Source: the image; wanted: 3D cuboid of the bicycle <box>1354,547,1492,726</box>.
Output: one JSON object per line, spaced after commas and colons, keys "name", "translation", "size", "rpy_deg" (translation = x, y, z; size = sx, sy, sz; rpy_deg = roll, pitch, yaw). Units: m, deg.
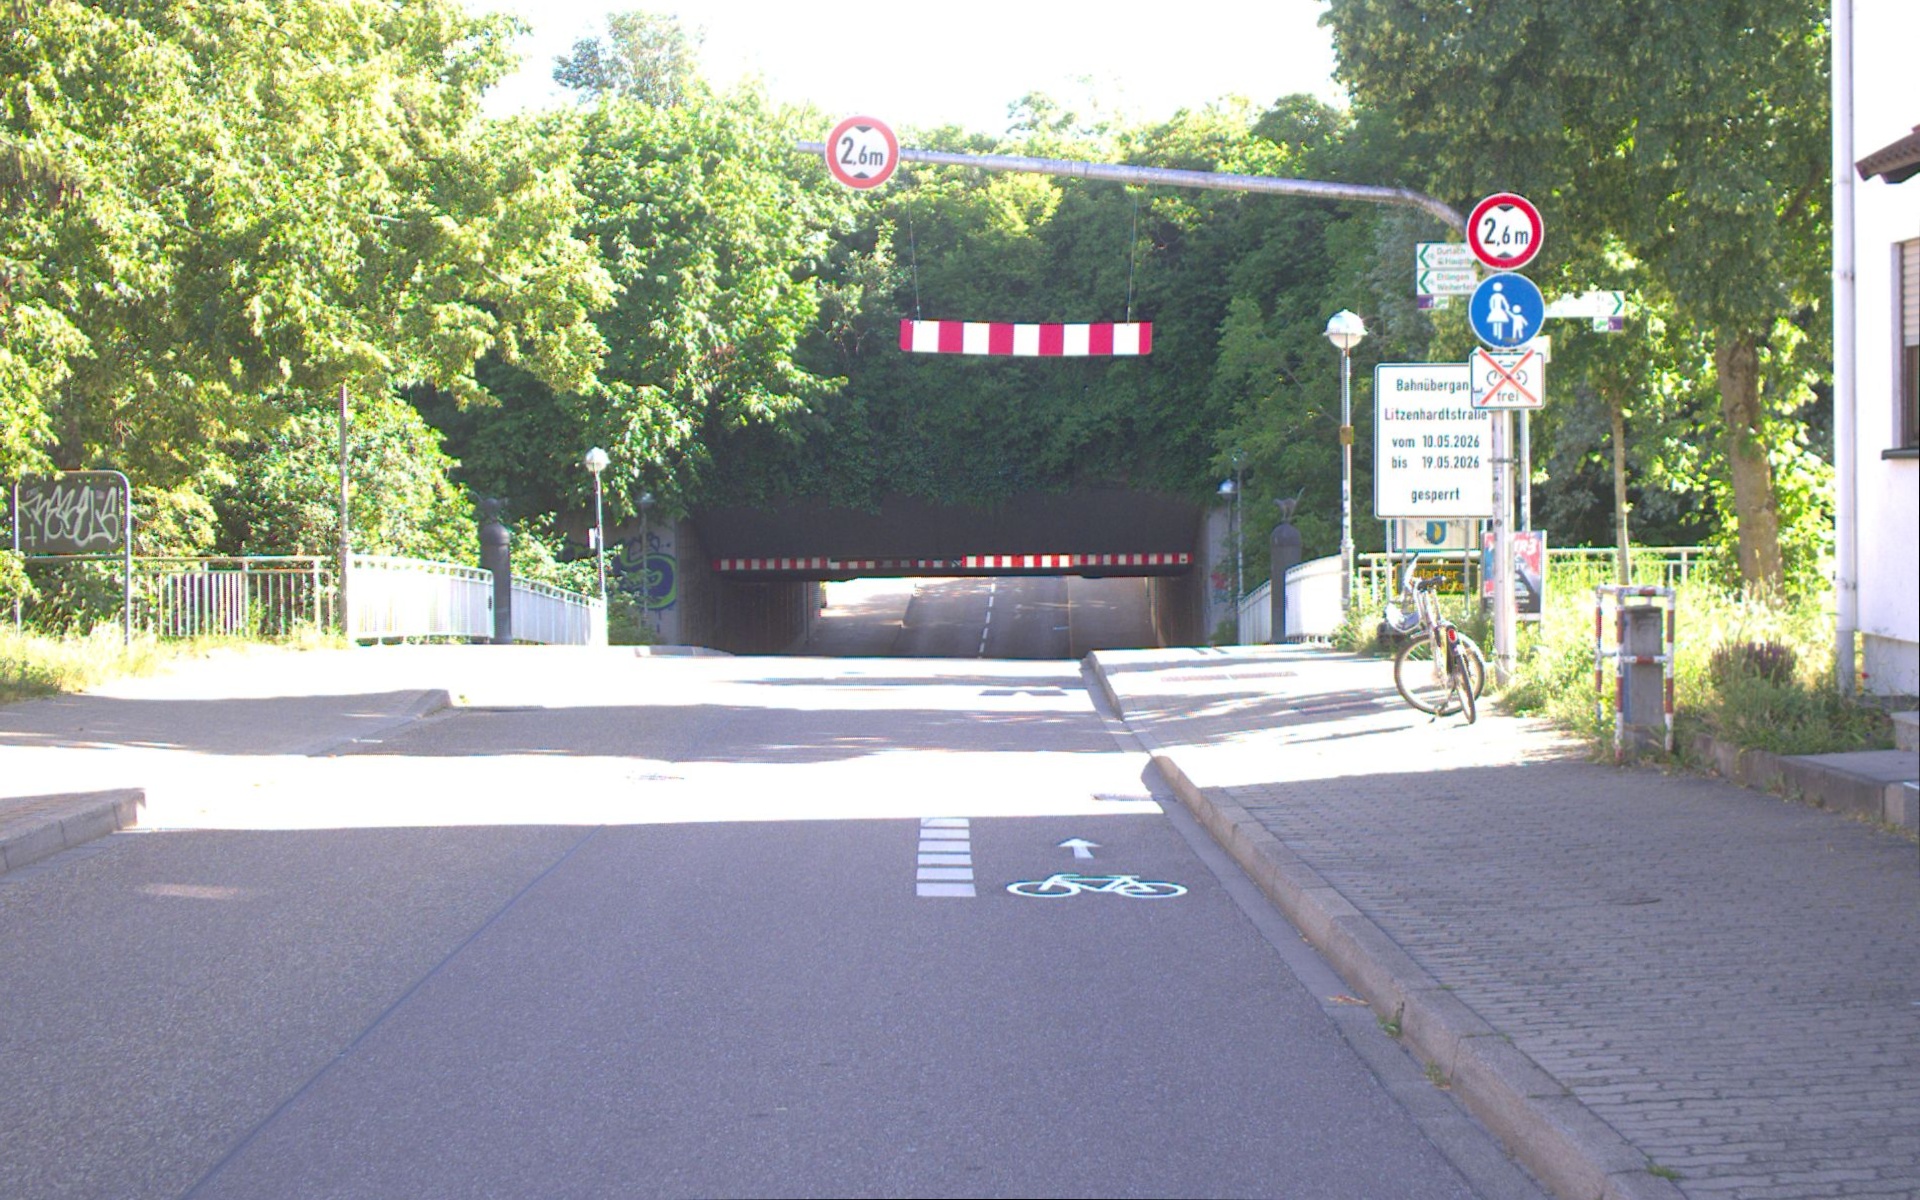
{"name": "bicycle", "translation": [3.218, 0.235, 23.998], "size": [0.688, 1.153, 1.540], "rpy_deg": [-3, 2, 0]}
